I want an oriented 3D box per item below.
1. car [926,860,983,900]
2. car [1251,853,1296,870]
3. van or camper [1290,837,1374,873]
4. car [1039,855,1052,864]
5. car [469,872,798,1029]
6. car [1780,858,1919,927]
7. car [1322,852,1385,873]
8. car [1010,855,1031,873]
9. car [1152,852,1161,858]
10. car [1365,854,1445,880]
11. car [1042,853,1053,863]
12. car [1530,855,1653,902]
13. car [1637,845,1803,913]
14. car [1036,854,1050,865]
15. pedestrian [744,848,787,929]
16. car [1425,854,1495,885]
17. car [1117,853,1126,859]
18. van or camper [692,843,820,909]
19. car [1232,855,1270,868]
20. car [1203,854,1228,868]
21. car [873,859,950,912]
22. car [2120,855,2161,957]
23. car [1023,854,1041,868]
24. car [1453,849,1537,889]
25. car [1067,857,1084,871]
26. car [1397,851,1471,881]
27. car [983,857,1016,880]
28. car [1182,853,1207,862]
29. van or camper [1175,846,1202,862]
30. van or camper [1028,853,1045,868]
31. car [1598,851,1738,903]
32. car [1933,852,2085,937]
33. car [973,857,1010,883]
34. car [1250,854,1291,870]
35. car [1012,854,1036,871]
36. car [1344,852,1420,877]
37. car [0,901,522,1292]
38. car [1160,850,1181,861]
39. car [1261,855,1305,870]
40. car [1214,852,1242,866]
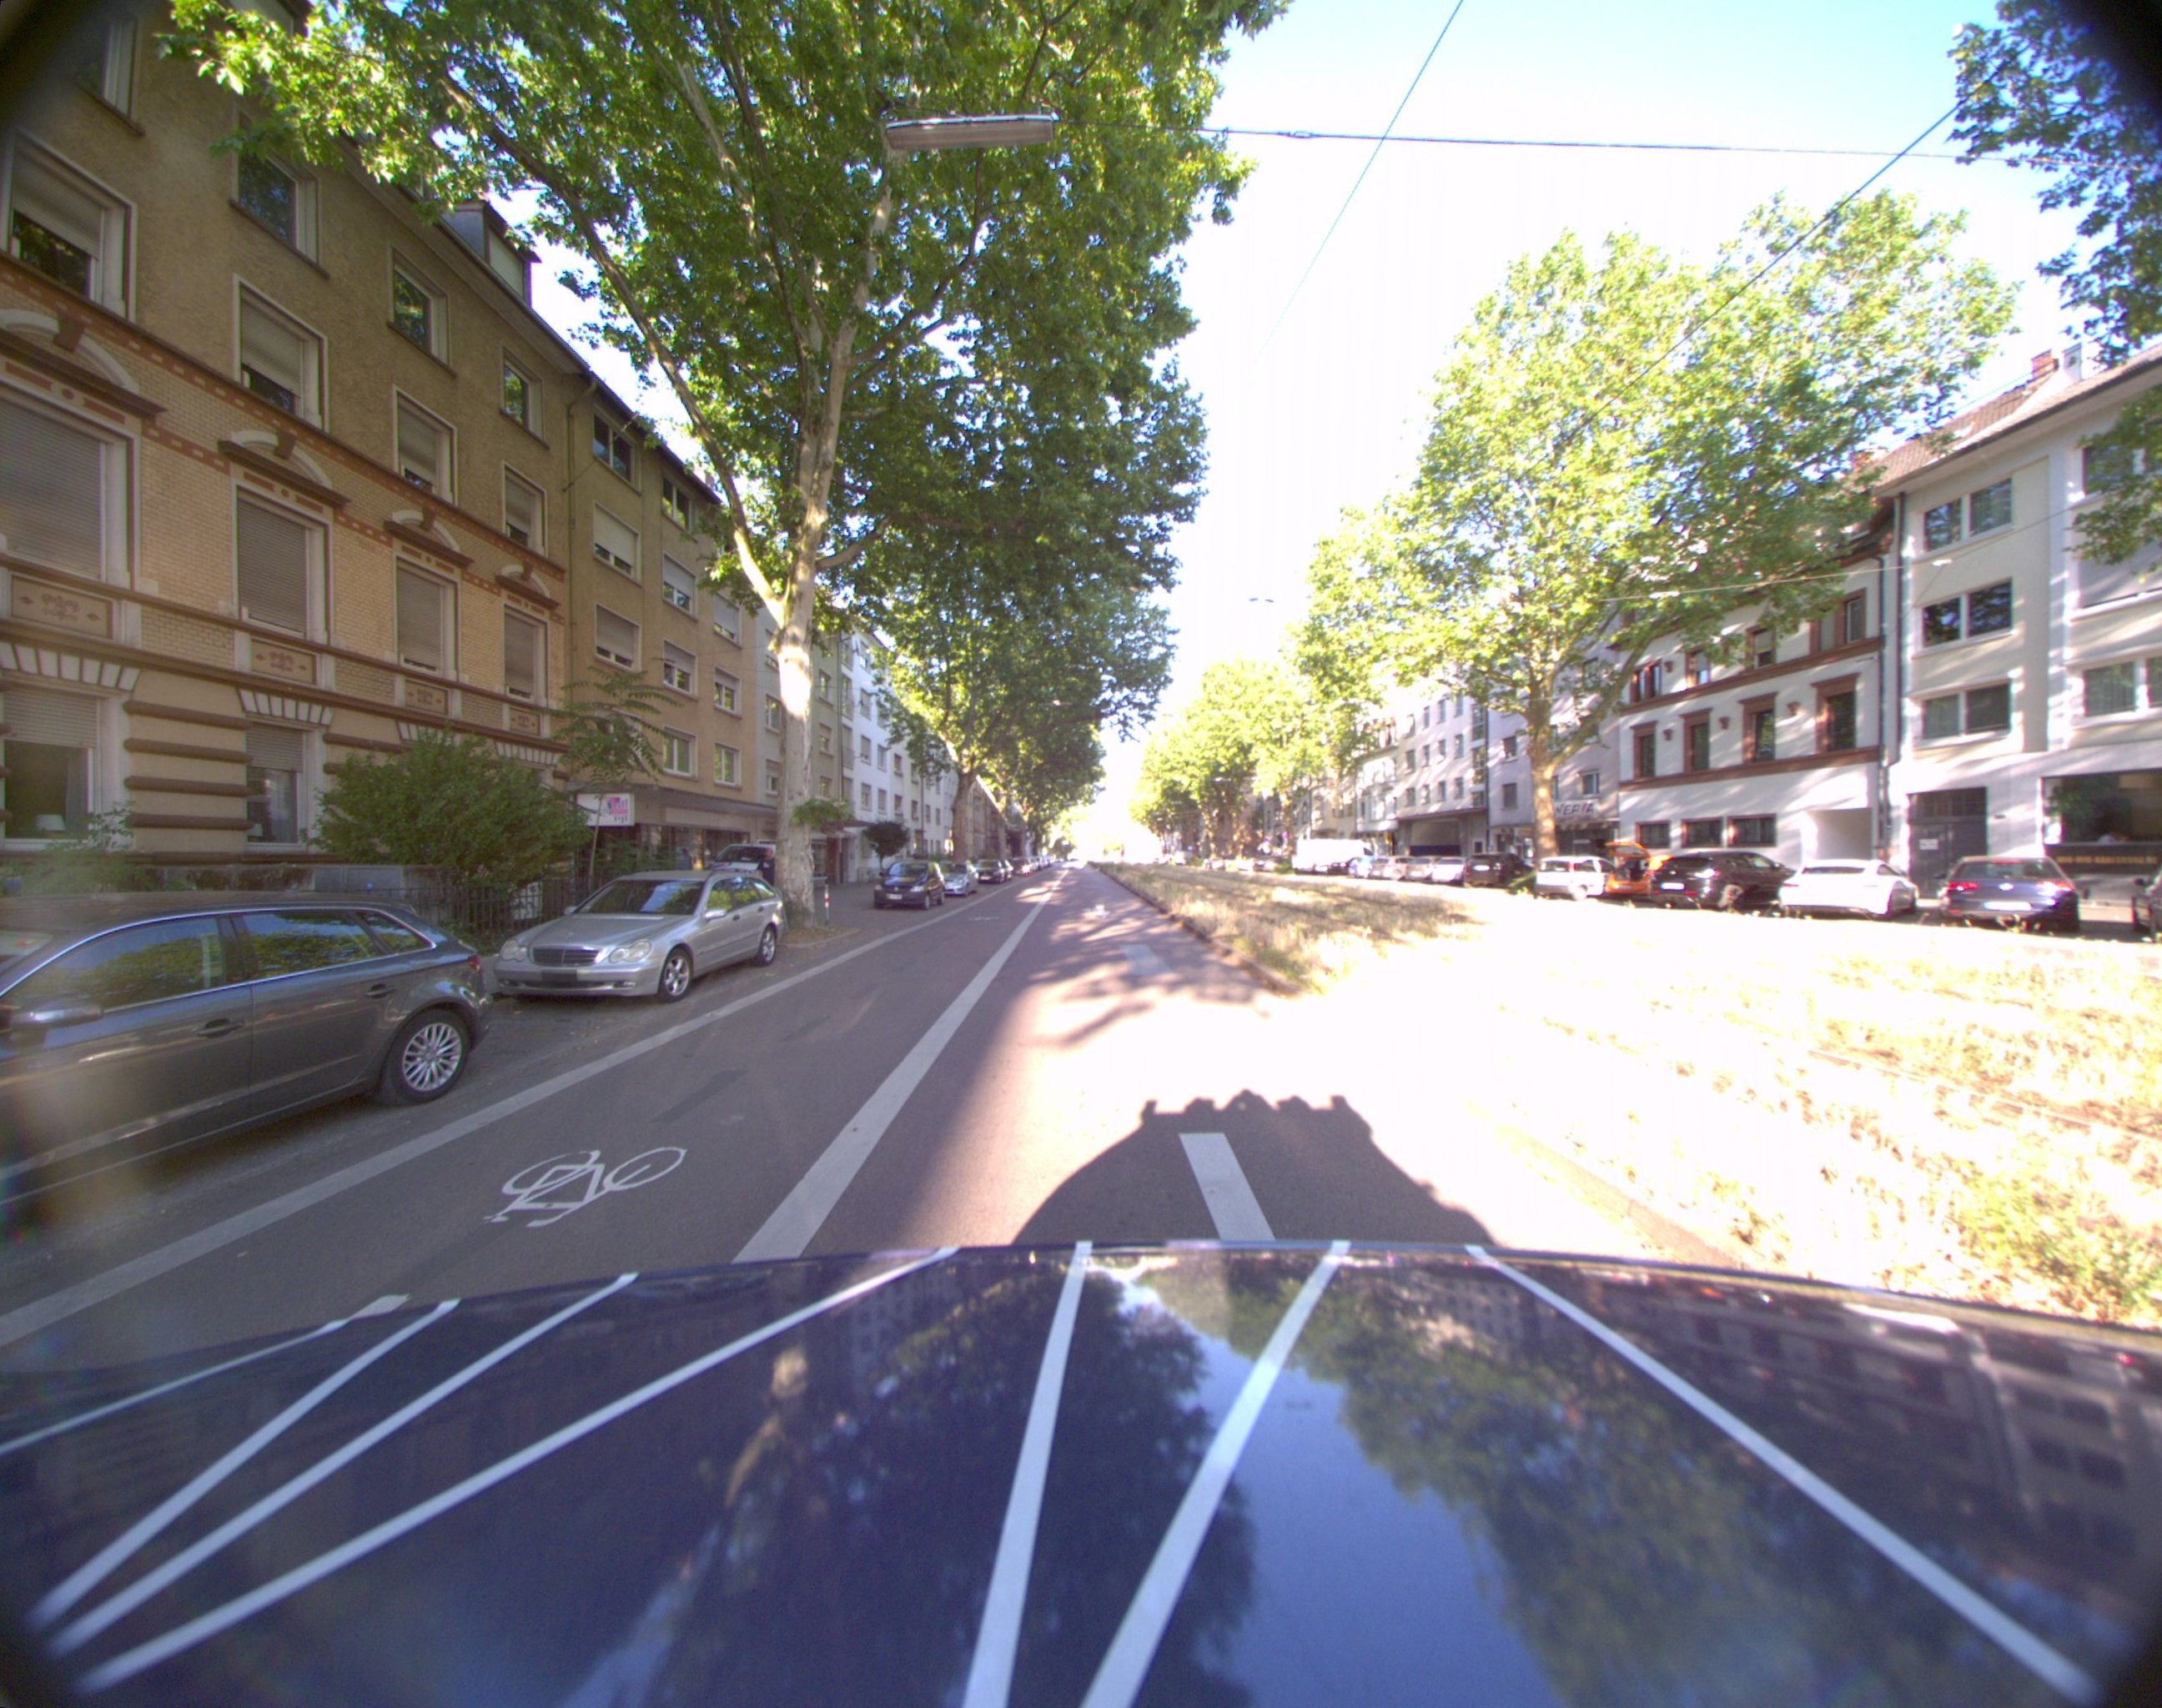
[{"bbox_3d":[-5.309,1.052,32.470,1.699,1.533,4.776,0,0,-1],"label":"car"},{"bbox_3d":[18.647,0.716,73.543,4.169,1.583,1.932,2,-1,-36],"label":"car"},{"bbox_3d":[18.983,0.041,57.447,5.974,2.631,2.175,-1,0,-20],"label":"van or camper"},{"bbox_3d":[-5.609,0.831,119.793,1.790,1.458,3.569,1,0,0],"label":"car"},{"bbox_3d":[-5.341,1.020,9.920,1.678,1.443,4.570,0,0,-2],"label":"car"},{"bbox_3d":[18.653,0.853,18.397,4.212,1.325,1.718,-3,1,-36],"label":"car"},{"bbox_3d":[19.707,0.579,54.938,4.004,1.482,1.996,0,0,-22],"label":"car"},{"bbox_3d":[-5.280,0.857,66.480,1.748,1.455,4.024,-1,0,-5],"label":"car"},{"bbox_3d":[20.191,0.325,202.871,1.998,1.412,4.000,-2,1,2],"label":"car"},{"bbox_3d":[19.174,0.734,45.076,4.002,1.483,1.948,0,0,-13],"label":"car"},{"bbox_3d":[-5.594,0.609,127.082,1.791,1.585,4.013,1,0,-2],"label":"car"},{"bbox_3d":[18.041,0.809,26.808,4.369,1.440,1.655,-2,1,-26],"label":"car"},{"bbox_3d":[18.300,0.683,21.746,4.370,1.776,1.989,1,1,-26],"label":"car"},{"bbox_3d":[-5.484,0.784,109.720,1.790,1.609,3.829,1,0,0],"label":"car"},{"bbox_3d":[-8.037,0.862,19.372,0.684,2.002,1.011,0,1,-3],"label":"pedestrian"},{"bbox_3d":[18.945,0.741,37.896,4.008,1.377,1.907,-2,0,-45],"label":"car"},{"bbox_3d":[11.001,0.577,205.174,1.997,1.477,4.002,-2,1,8],"label":"car"},{"bbox_3d":[-10.435,0.640,24.949,1.947,1.911,5.390,0,0,-1],"label":"van or camper"},{"bbox_3d":[18.211,0.781,81.426,3.687,1.382,1.822,-1,0,-31],"label":"car"},{"bbox_3d":[15.041,0.767,85.176,1.825,1.382,4.483,2,0,-1],"label":"car"},{"bbox_3d":[-5.425,0.967,24.714,1.658,1.536,3.999,0,0,-1],"label":"car"},{"bbox_3d":[19.058,0.811,12.680,4.007,1.433,1.717,-3,1,-41],"label":"car"},{"bbox_3d":[-5.544,0.791,86.398,1.702,1.517,4.194,0,0,0],"label":"car"},{"bbox_3d":[18.688,0.652,34.228,4.008,1.651,1.995,-1,0,-41],"label":"car"},{"bbox_3d":[-0.663,1.167,91.751,1.893,1.501,4.000,-3,1,1],"label":"car"},{"bbox_3d":[19.062,0.619,40.945,4.006,1.414,1.752,-3,1,-34],"label":"car"},{"bbox_3d":[-5.401,0.926,50.560,1.713,1.407,4.363,2,0,0],"label":"car"},{"bbox_3d":[18.977,0.586,127.192,4.006,1.240,1.726,-4,1,-34],"label":"car"},{"bbox_3d":[18.363,0.022,129.714,4.371,2.386,2.196,-4,2,-40],"label":"van or camper"},{"bbox_3d":[-5.410,0.763,92.697,1.790,1.710,4.379,1,0,1],"label":"van or camper"},{"bbox_3d":[19.500,0.730,25.258,4.003,1.471,1.774,-3,1,-20],"label":"car"},{"bbox_3d":[19.364,0.769,16.020,4.007,1.433,1.797,-3,1,-43],"label":"car"},{"bbox_3d":[-5.315,0.917,45.669,1.713,1.407,4.363,2,0,0],"label":"car"},{"bbox_3d":[19.221,0.802,76.923,4.008,1.524,1.821,1,-1,-36],"label":"car"},{"bbox_3d":[-5.482,0.808,73.256,1.999,1.557,4.663,2,1,0],"label":"car"},{"bbox_3d":[18.964,0.643,48.012,3.998,1.412,1.857,-3,1,-4],"label":"car"},{"bbox_3d":[-5.180,1.063,3.654,1.714,1.388,4.321,0,0,1],"label":"car"},{"bbox_3d":[18.318,0.378,154.803,4.007,2.002,1.995,-3,1,-42],"label":"car"},{"bbox_3d":[18.700,0.812,70.256,4.014,1.349,1.797,1,0,-37],"label":"car"},{"bbox_3d":[18.833,0.631,97.401,1.726,1.643,4.009,-1,-1,40],"label":"car"}]
